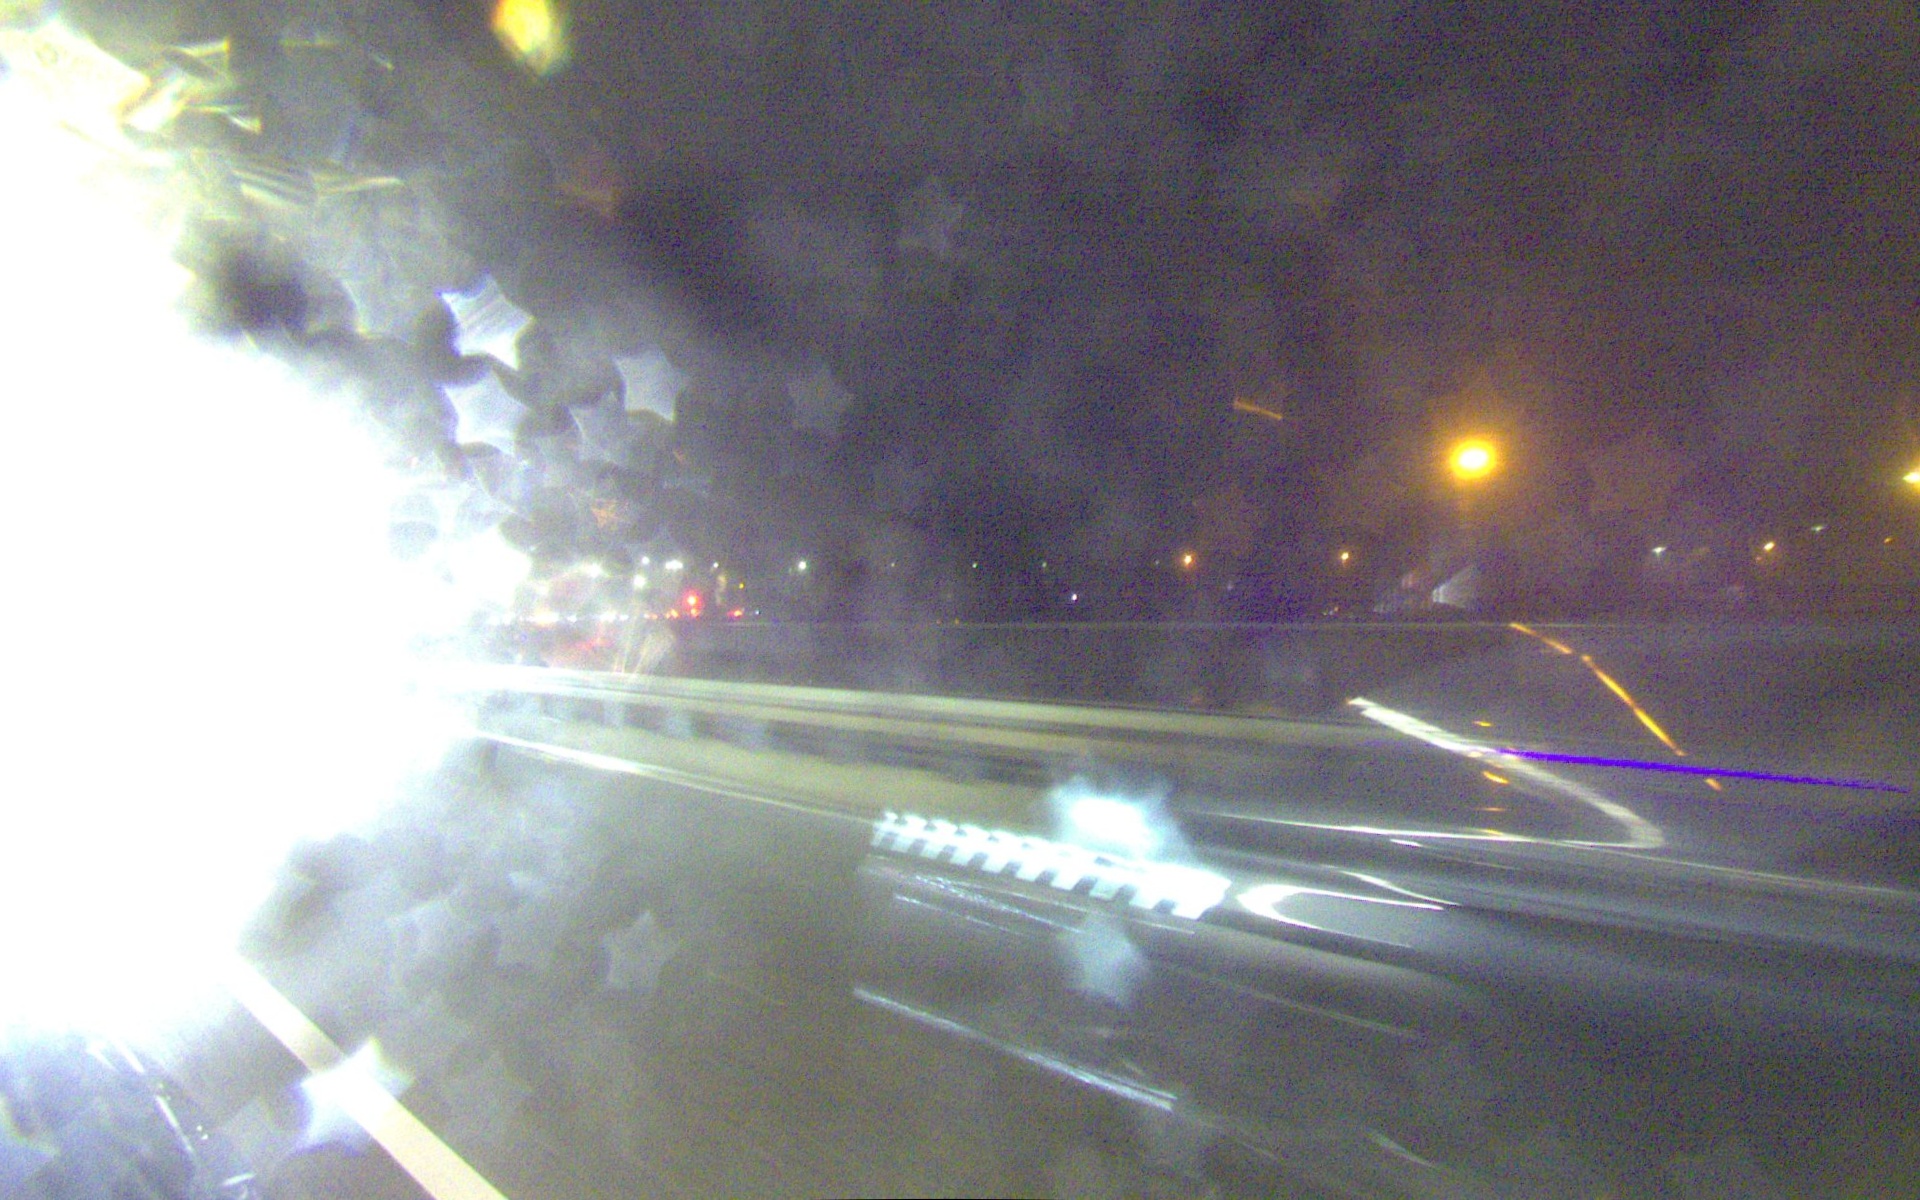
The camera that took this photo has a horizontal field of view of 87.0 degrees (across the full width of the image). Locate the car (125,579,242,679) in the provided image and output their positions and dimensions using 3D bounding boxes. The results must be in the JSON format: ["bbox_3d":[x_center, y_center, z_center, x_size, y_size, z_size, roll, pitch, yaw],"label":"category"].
[{"bbox_3d":[-19.027,0.669,24.692,2.018,2.186,5.162,0,-1,-40],"label":"car"}]

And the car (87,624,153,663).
[{"bbox_3d":[-35.182,1.820,42.446,1.497,1.537,3.117,-1,-2,-27],"label":"car"}]

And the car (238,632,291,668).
[{"bbox_3d":[-46.174,3.363,67.272,1.629,2.028,4.011,-8,-2,-18],"label":"car"}]

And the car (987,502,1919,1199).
[{"bbox_3d":[2.503,0.610,1.705,4.729,1.579,1.879,-3,-1,39],"label":"car"}]

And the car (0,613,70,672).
[{"bbox_3d":[-27.575,1.202,29.837,1.728,1.603,4.008,0,-1,-37],"label":"car"}]

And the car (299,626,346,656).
[{"bbox_3d":[-50.511,3.259,80.236,1.630,2.028,4.009,-9,-2,-12],"label":"car"}]

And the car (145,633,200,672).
[{"bbox_3d":[-40.349,2.660,51.917,1.285,1.539,3.056,-11,5,-23],"label":"car"}]
